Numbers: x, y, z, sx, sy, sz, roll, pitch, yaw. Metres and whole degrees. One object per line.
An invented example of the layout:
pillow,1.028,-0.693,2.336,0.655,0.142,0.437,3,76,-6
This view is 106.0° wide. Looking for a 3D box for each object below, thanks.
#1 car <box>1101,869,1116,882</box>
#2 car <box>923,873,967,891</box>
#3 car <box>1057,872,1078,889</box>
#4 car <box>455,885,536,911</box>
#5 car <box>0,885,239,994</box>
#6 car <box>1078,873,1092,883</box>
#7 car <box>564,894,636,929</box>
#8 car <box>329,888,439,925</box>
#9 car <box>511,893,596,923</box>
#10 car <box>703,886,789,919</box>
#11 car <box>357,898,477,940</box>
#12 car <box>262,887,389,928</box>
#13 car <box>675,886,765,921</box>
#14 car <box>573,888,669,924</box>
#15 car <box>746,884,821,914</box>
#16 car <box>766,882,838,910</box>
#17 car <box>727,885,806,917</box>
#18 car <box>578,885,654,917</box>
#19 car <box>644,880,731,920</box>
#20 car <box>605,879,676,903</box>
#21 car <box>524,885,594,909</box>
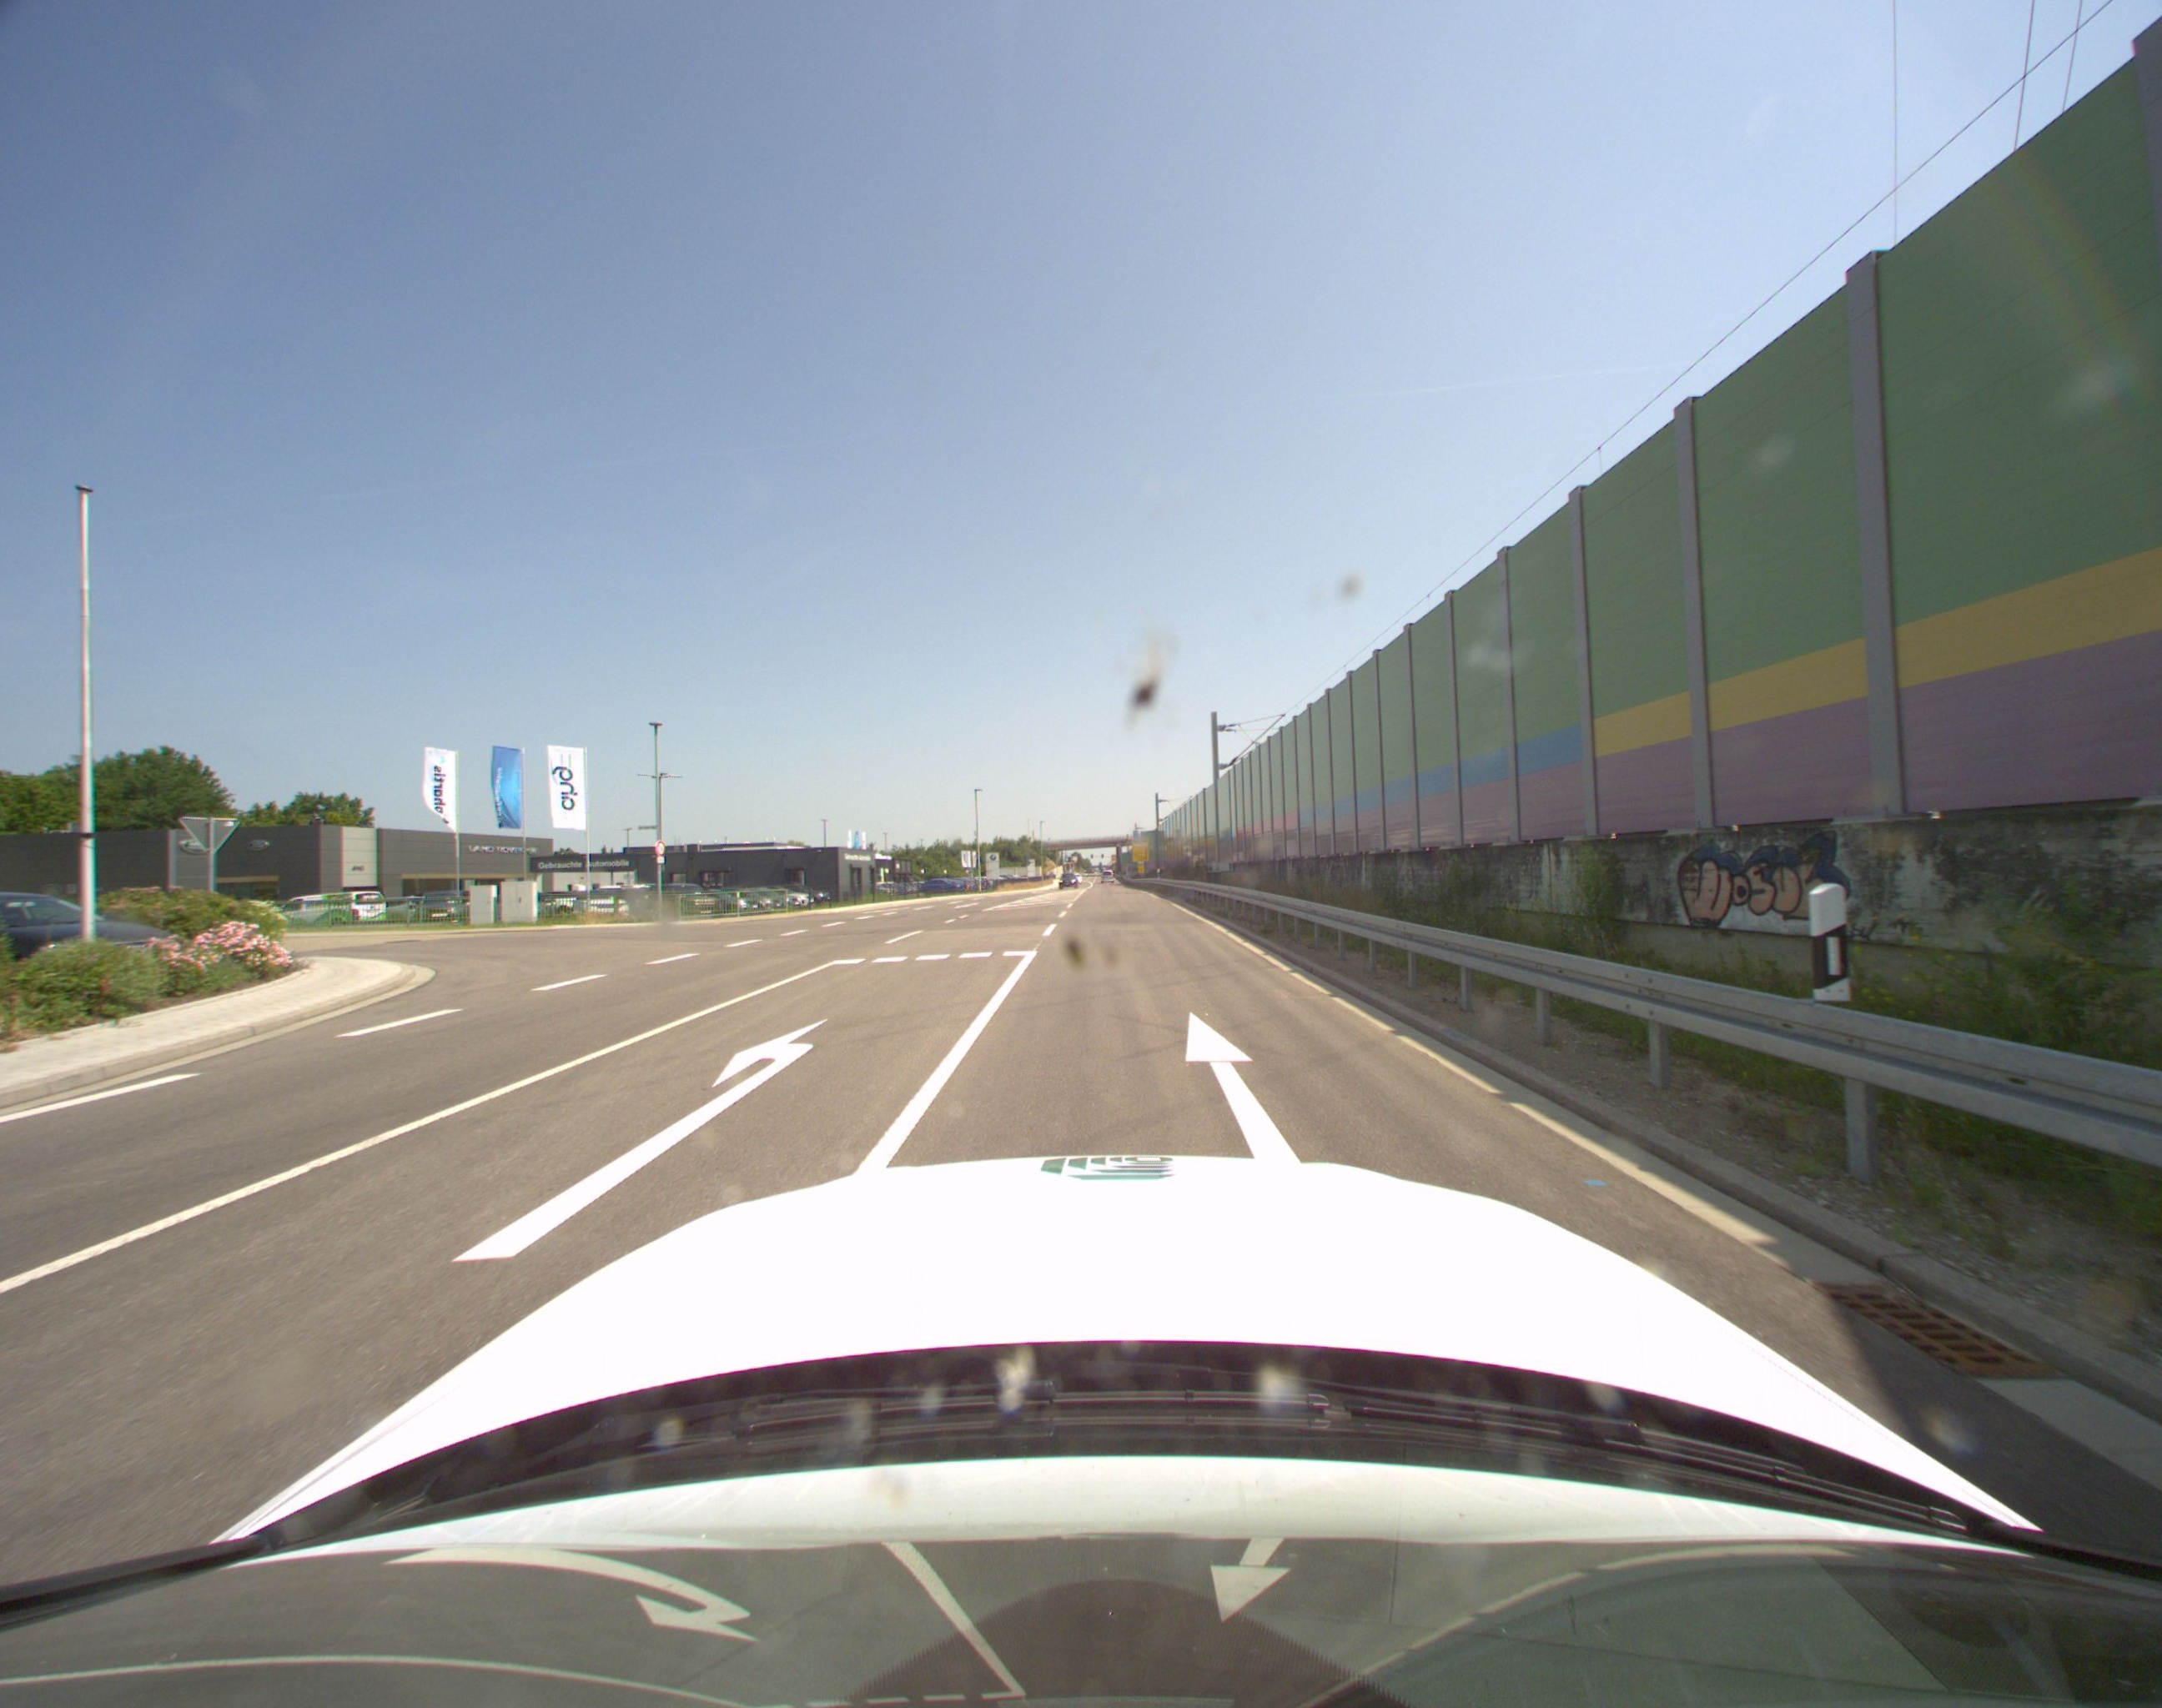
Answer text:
car,3.866,3.040,114.261,1.985,1.757,4.003,-2,-1,3
car,-13.514,2.789,81.294,3.975,1.481,1.910,-3,-1,-1
car,-1.357,2.717,83.980,1.870,1.673,4.292,-2,-1,2
car,-35.684,2.664,49.701,3.673,1.421,1.685,-2,-1,-1
car,-15.655,1.274,12.093,4.213,1.394,1.832,-3,-1,-3
car,0.582,3.429,116.264,1.774,1.416,4.053,-3,-2,3
car,-23.568,2.799,39.809,4.452,1.562,1.938,-4,-3,44
car,-36.501,2.711,42.707,3.975,1.665,1.976,-3,-1,-1
car,-30.088,3.072,46.509,3.673,1.445,1.685,-2,-1,-1
car,-19.096,2.746,46.564,3.975,1.632,1.976,-3,-1,-1
car,-31.421,3.045,38.624,3.975,1.665,1.976,-3,-1,-1
car,-36.985,2.597,39.936,4.291,1.734,1.966,-2,-1,-1
car,-19.423,2.635,43.931,3.975,1.632,1.886,-3,-1,-1
car,-24.870,2.804,44.131,3.975,1.665,1.976,-3,-1,-1
car,-18.958,2.853,52.072,3.972,1.632,1.968,-3,-1,1
car,-18.849,2.858,55.144,4.136,1.632,1.822,-3,-1,-1
car,-19.016,2.821,49.371,3.975,1.632,1.976,-3,-1,-1
car,-29.935,3.023,52.463,3.825,1.828,1.685,-2,-1,-1
car,-19.523,2.276,40.312,4.619,1.865,2.079,-3,-3,38
car,-29.983,2.485,55.499,3.825,1.421,1.685,-2,-1,-1
car,-35.529,2.889,55.486,3.673,1.421,1.685,-2,-1,-1
